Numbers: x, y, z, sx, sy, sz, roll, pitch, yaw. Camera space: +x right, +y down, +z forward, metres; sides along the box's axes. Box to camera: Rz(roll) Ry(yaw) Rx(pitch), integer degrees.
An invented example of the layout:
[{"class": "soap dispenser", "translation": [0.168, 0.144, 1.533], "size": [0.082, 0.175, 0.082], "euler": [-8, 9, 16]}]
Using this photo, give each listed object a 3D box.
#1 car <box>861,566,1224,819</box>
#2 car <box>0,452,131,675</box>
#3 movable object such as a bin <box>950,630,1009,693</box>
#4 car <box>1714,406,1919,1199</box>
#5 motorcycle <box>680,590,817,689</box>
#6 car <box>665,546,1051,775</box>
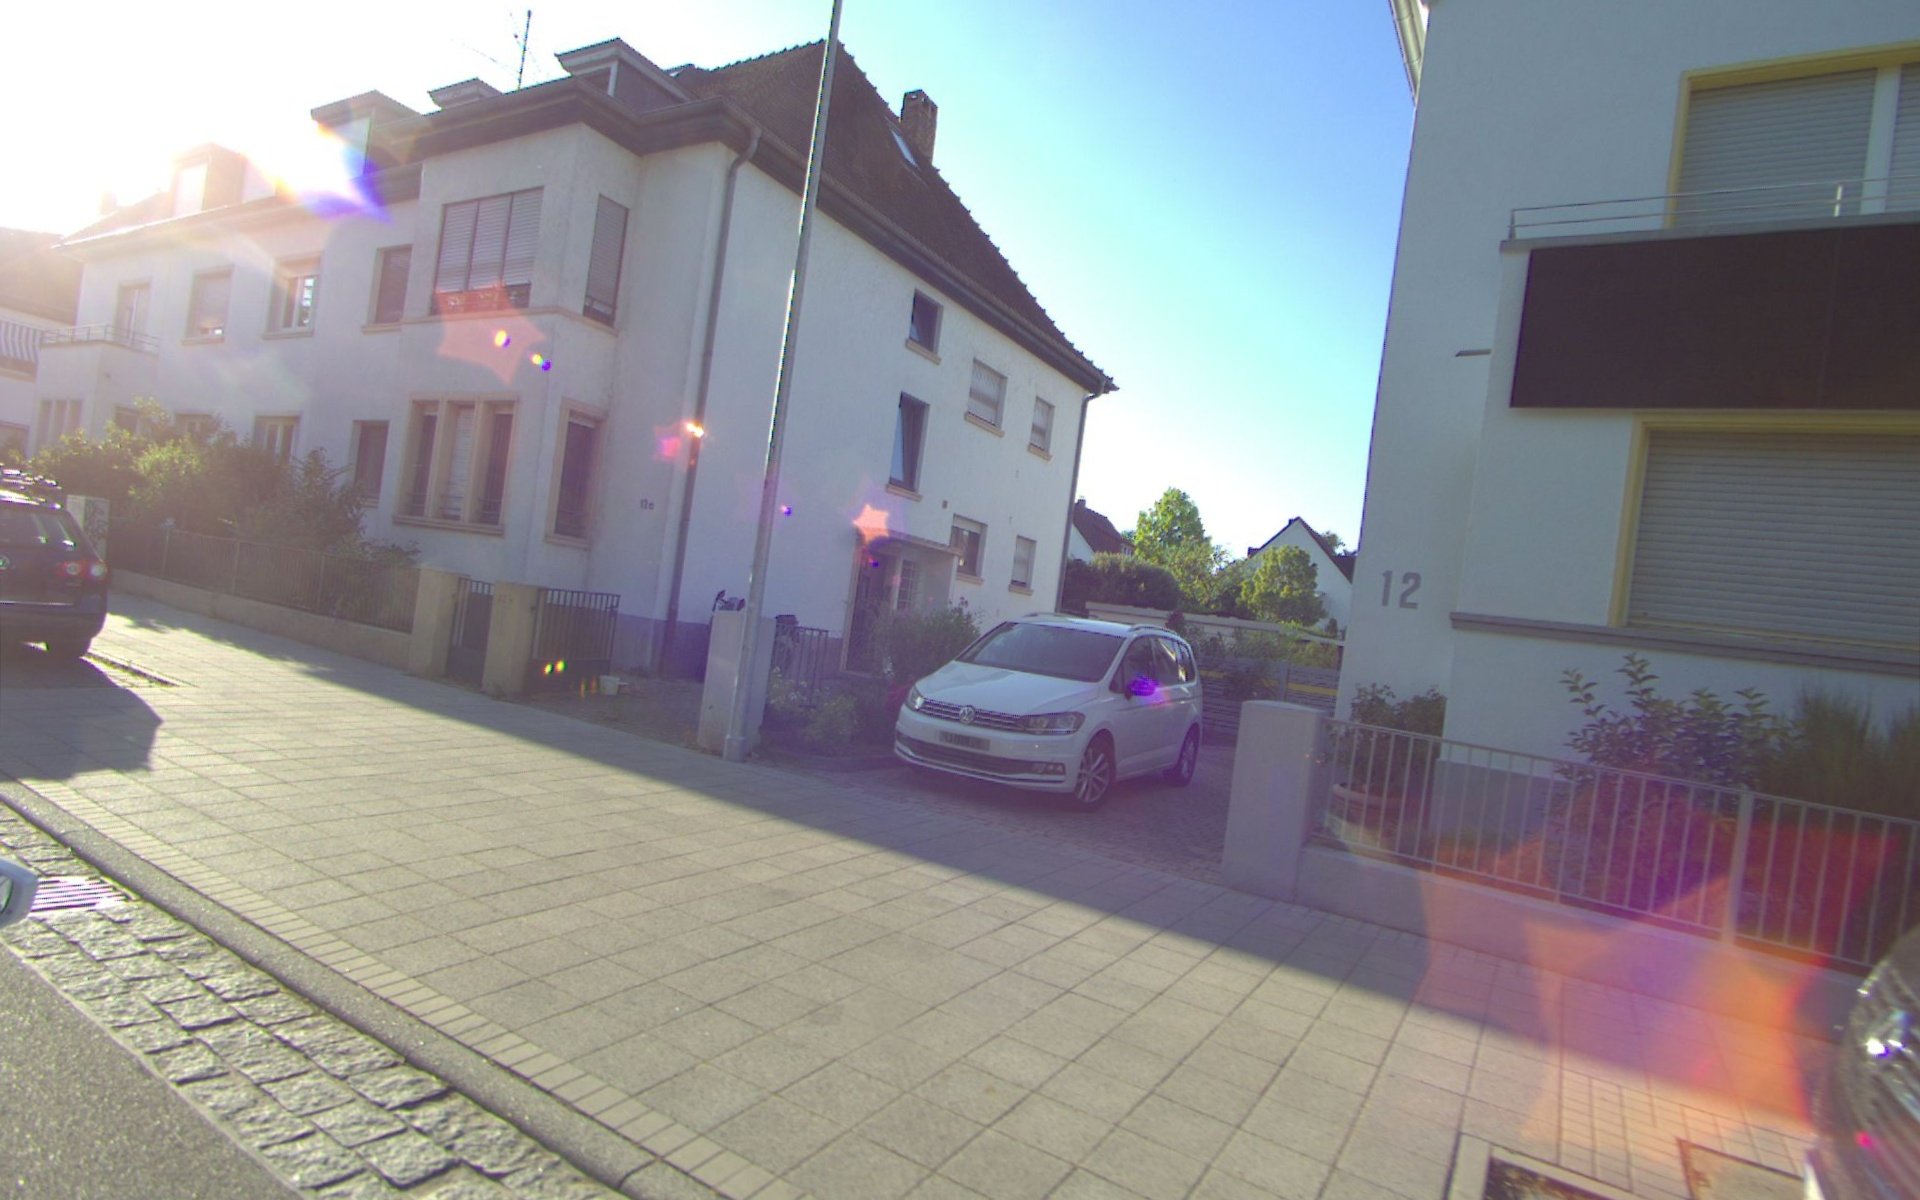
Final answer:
[{"class": "car", "translation": [1.067, 0.901, 9.850], "size": [1.821, 1.745, 4.229], "euler": [7, -2, 28]}, {"class": "car", "translation": [-9.584, -0.541, 9.134], "size": [4.398, 1.794, 1.795], "euler": [8, 2, 32]}, {"class": "movable object such as a bin", "translation": [0.401, 1.243, 20.238], "size": [0.684, 1.150, 0.888], "euler": [7, -2, 31]}, {"class": "car", "translation": [3.962, 0.946, 1.033], "size": [4.735, 2.159, 1.907], "euler": [8, 2, 33]}, {"class": "motorcycle", "translation": [-2.996, 0.597, 14.471], "size": [0.588, 1.263, 2.073], "euler": [7, 0, 29]}, {"class": "car", "translation": [-0.802, 0.627, 10.567], "size": [1.821, 1.747, 4.226], "euler": [7, 0, 28]}]
